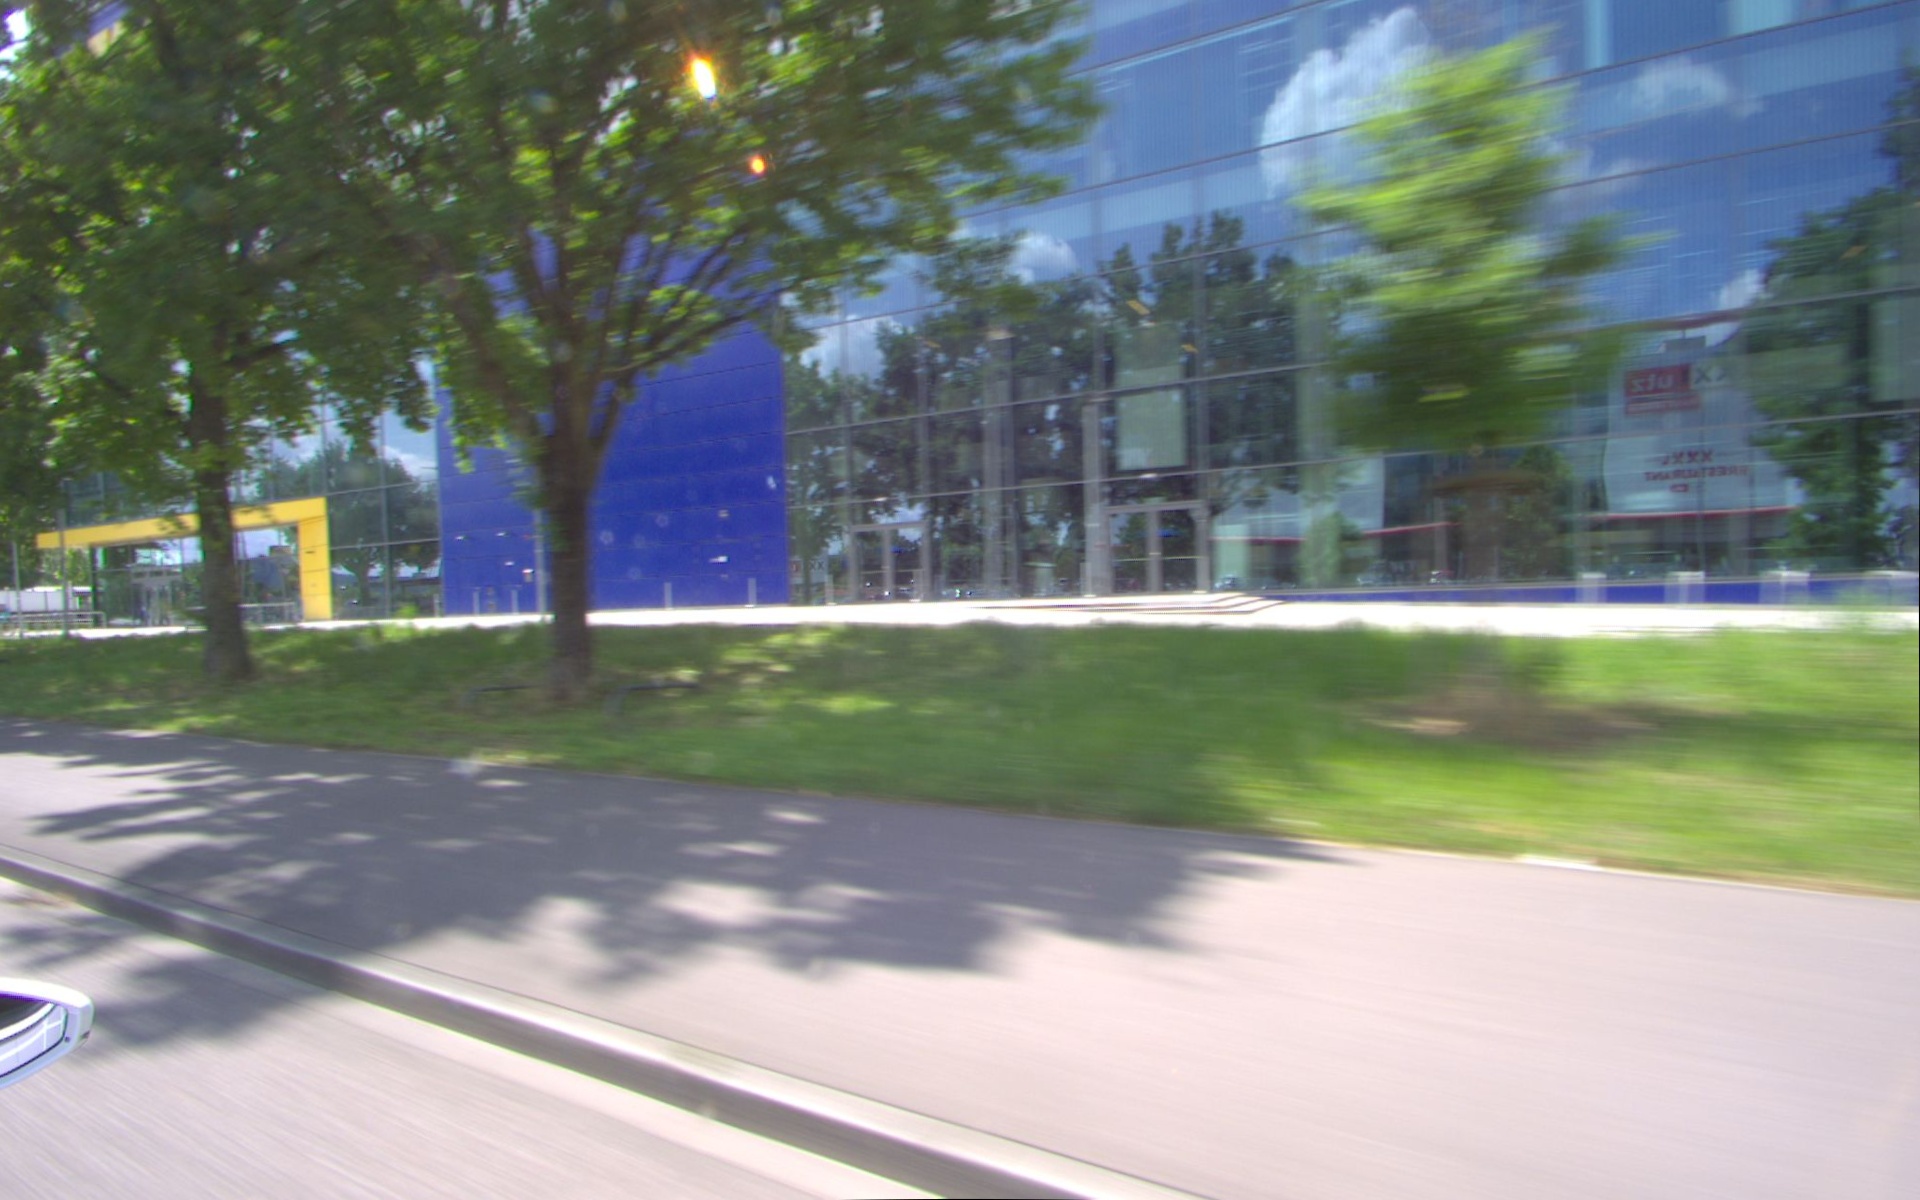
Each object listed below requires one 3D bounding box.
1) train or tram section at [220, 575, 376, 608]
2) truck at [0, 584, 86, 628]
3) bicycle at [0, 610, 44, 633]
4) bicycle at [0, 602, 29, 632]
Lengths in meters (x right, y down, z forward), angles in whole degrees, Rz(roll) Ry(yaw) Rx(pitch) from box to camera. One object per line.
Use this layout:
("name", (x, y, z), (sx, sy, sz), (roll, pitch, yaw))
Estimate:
("train or tram section", (-68.600, -0.854, 104.441), (2.998, 3.228, 14.049), (-1, 0, 26))
("truck", (-92.588, 0.560, 96.786), (2.907, 4.160, 11.940), (0, 1, 29))
("bicycle", (-39.978, 0.901, 42.271), (0.463, 0.894, 1.858), (0, 2, 30))
("bicycle", (-41.119, 0.763, 42.579), (0.712, 1.246, 2.130), (1, 3, 39))
